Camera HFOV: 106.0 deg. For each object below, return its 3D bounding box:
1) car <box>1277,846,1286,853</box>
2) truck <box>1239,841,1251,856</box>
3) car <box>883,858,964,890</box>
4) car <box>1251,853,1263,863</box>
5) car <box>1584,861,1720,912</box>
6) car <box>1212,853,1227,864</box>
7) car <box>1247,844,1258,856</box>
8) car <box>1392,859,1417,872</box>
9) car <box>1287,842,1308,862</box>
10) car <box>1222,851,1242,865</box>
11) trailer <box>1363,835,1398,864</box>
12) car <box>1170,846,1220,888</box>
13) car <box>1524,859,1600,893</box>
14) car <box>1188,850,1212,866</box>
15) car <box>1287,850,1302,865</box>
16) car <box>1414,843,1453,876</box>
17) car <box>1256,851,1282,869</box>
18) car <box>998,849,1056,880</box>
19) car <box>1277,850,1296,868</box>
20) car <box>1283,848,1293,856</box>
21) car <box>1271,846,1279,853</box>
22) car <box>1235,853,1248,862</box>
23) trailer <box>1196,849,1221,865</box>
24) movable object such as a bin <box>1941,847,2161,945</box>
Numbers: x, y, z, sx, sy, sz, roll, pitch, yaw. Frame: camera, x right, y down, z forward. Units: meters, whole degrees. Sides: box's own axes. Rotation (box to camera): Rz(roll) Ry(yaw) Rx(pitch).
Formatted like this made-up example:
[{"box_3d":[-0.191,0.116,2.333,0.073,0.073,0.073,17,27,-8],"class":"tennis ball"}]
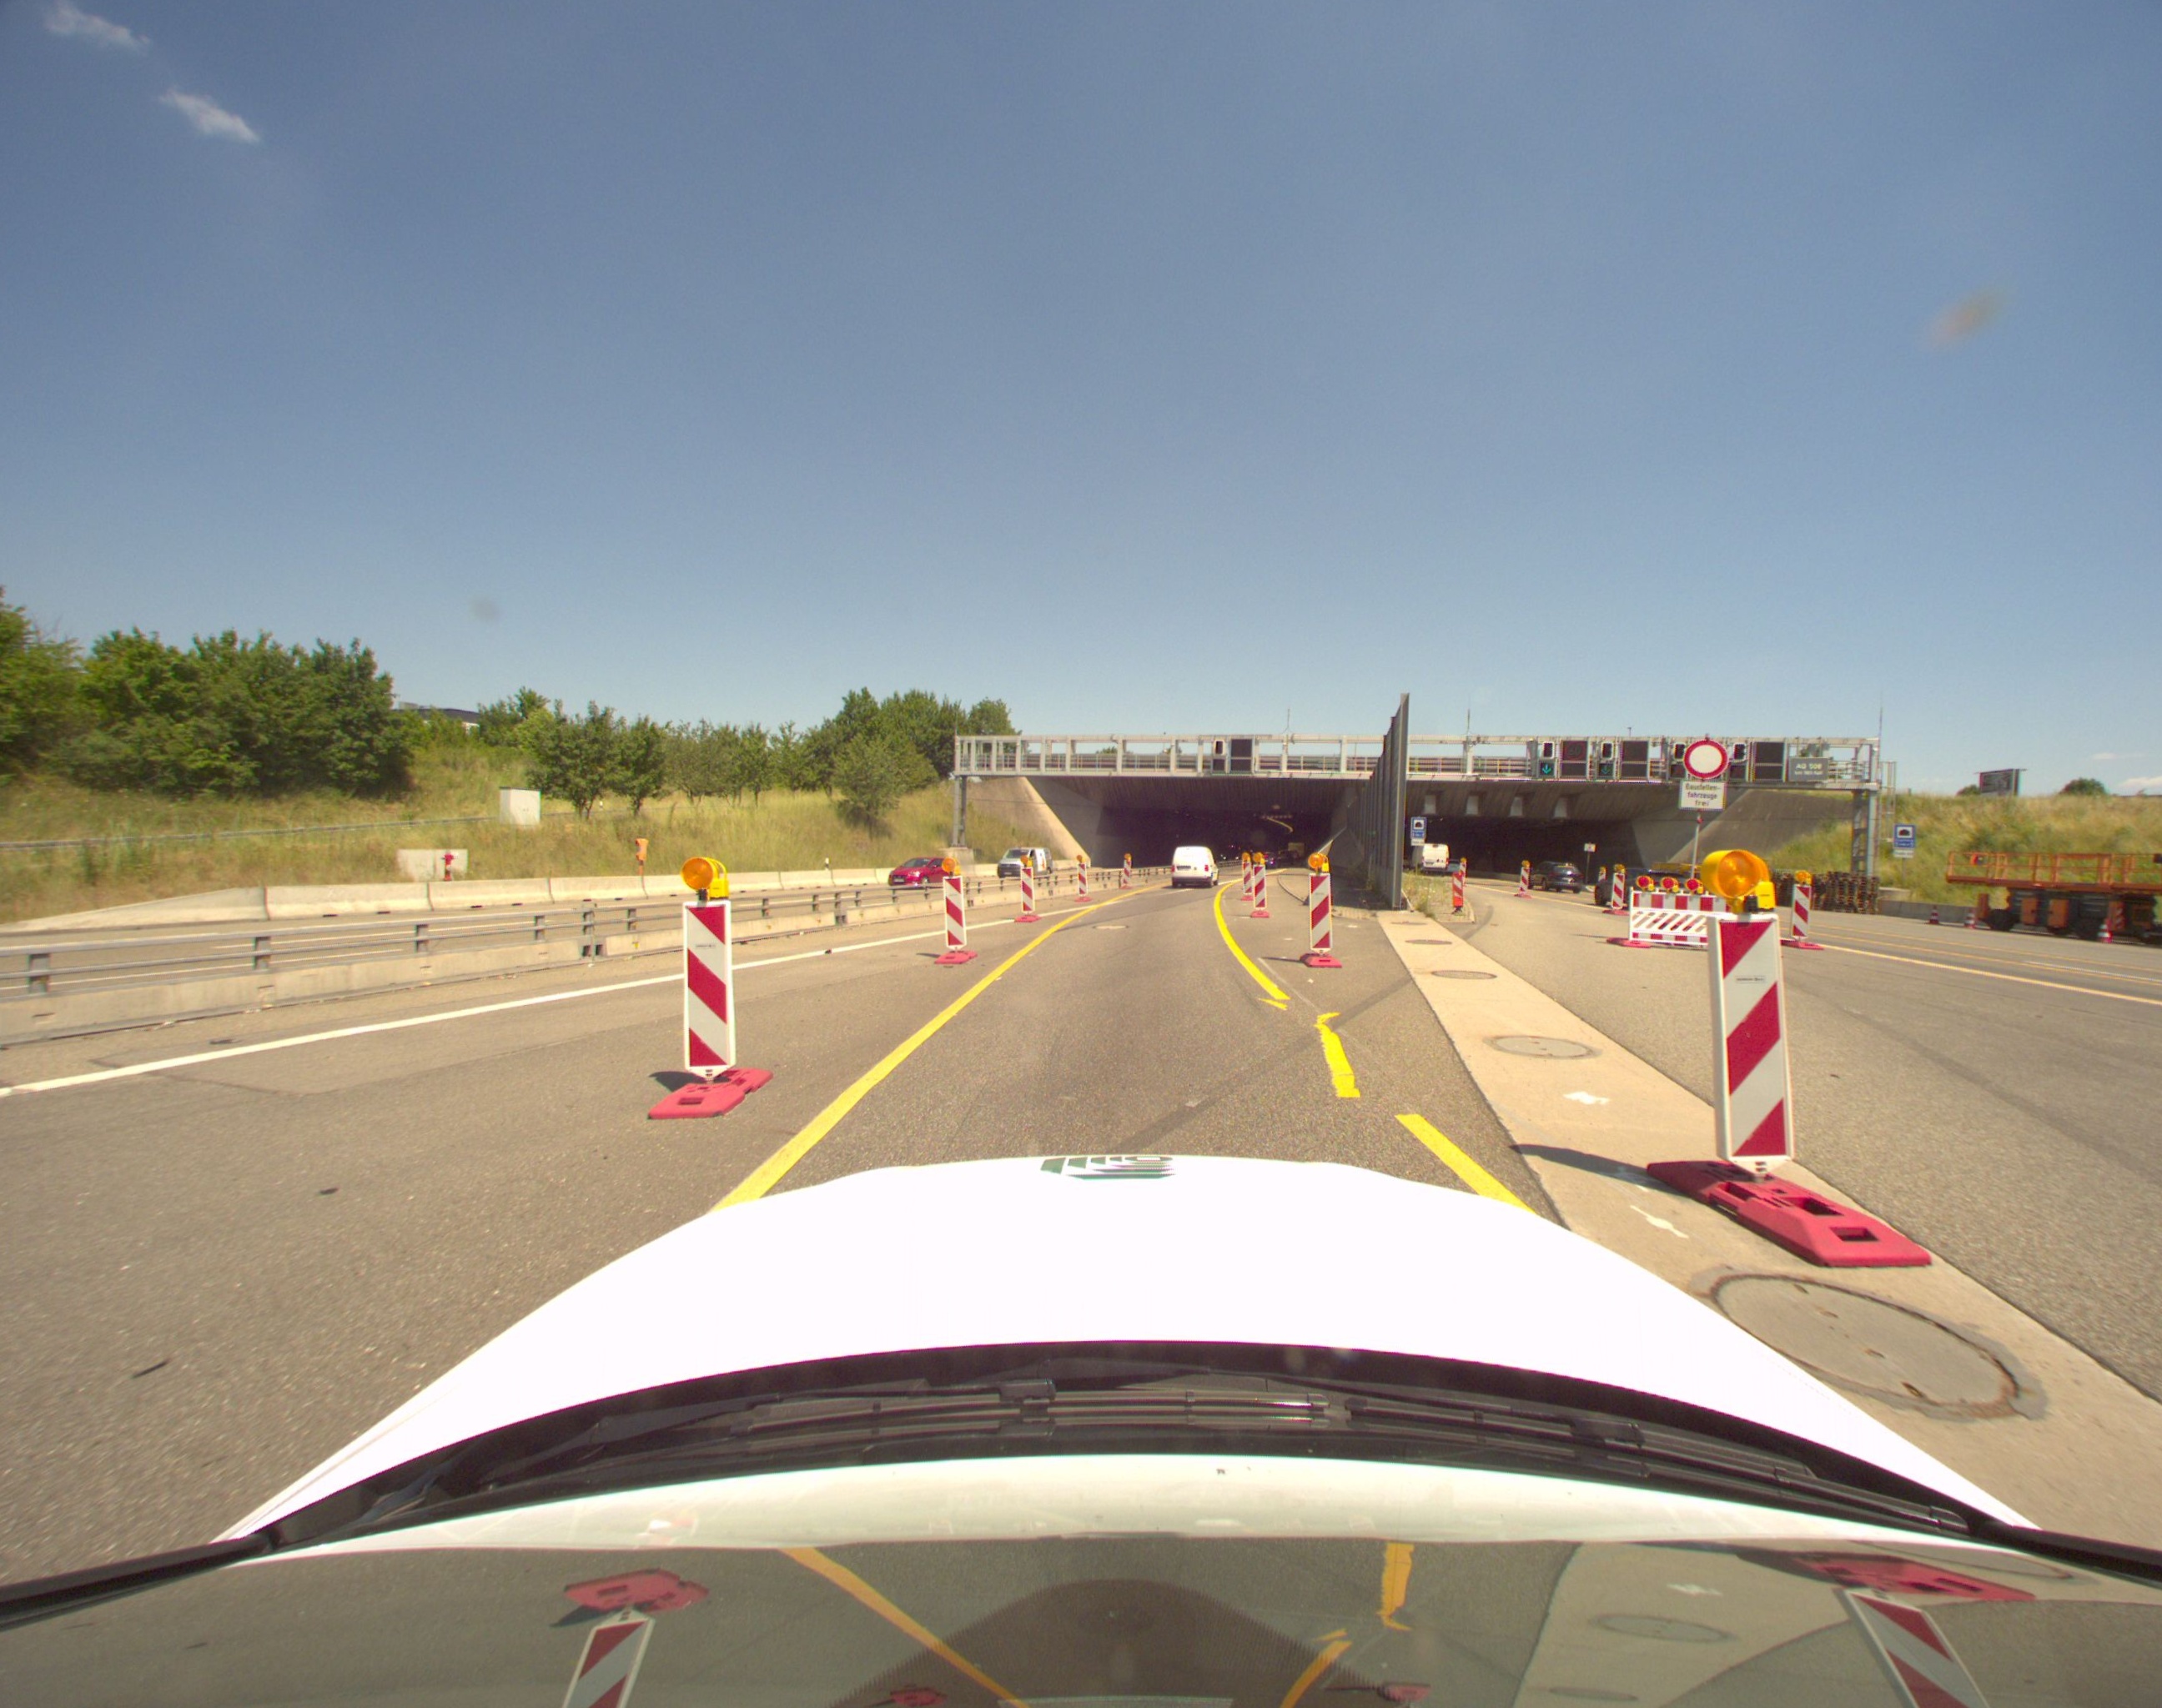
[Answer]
[{"box_3d":[57.326,-1.369,232.902,2.061,2.021,4.674,-1,0,9],"class":"car"},{"box_3d":[43.972,-1.413,217.727,2.790,3.915,6.481,-1,0,14],"class":"truck"},{"box_3d":[-7.245,0.912,37.797,1.672,1.395,4.022,-1,-1,24],"class":"car"},{"box_3d":[30.010,0.678,139.110,1.760,1.577,4.464,-1,0,15],"class":"car"},{"box_3d":[20.079,1.072,28.926,1.982,1.486,4.688,3,0,8],"class":"car"},{"box_3d":[21.243,0.683,124.724,1.760,1.666,4.828,-1,0,16],"class":"car"},{"box_3d":[36.425,-0.785,172.712,1.979,2.515,6.065,-1,0,14],"class":"car"},{"box_3d":[38.800,1.360,97.810,1.804,1.464,4.664,3,0,9],"class":"car"},{"box_3d":[32.586,-0.288,122.407,2.792,2.774,7.131,-2,-2,17],"class":"car"},{"box_3d":[17.819,0.456,95.703,1.760,1.593,5.008,-1,0,17],"class":"car"},{"box_3d":[45.750,-0.643,124.750,2.715,4.062,14.139,3,0,11],"class":"trailer"},{"box_3d":[5.195,0.592,36.898,1.795,1.794,3.745,-1,0,14],"class":"car"},{"box_3d":[26.963,1.190,45.827,2.006,1.662,5.253,3,0,11],"class":"car"},{"box_3d":[13.837,0.453,94.418,1.758,1.727,4.893,-1,0,21],"class":"car"},{"box_3d":[26.700,0.456,101.899,1.795,1.751,4.427,1,0,15],"class":"car"},{"box_3d":[28.990,0.478,67.135,2.248,2.536,6.615,3,0,18],"class":"car"},{"box_3d":[16.346,0.507,70.601,1.794,1.537,4.429,1,0,18],"class":"car"},{"box_3d":[-3.286,0.648,50.356,1.673,1.834,4.812,-1,-1,21],"class":"car"},{"box_3d":[21.764,0.525,86.084,1.795,1.815,4.427,1,0,15],"class":"car"},{"box_3d":[52.538,-0.441,206.713,1.928,2.021,4.674,-1,0,9],"class":"car"},{"box_3d":[60.210,-1.449,252.750,2.061,2.021,4.674,-1,0,9],"class":"car"},{"box_3d":[29.122,0.580,147.772,1.760,1.515,4.584,-1,0,16],"class":"car"},{"box_3d":[15.601,0.345,99.250,1.930,1.805,5.551,-1,0,21],"class":"trailer"},{"box_3d":[34.628,1.310,25.173,3.091,3.011,14.746,1,0,11],"class":"movable object such as a bin"}]
